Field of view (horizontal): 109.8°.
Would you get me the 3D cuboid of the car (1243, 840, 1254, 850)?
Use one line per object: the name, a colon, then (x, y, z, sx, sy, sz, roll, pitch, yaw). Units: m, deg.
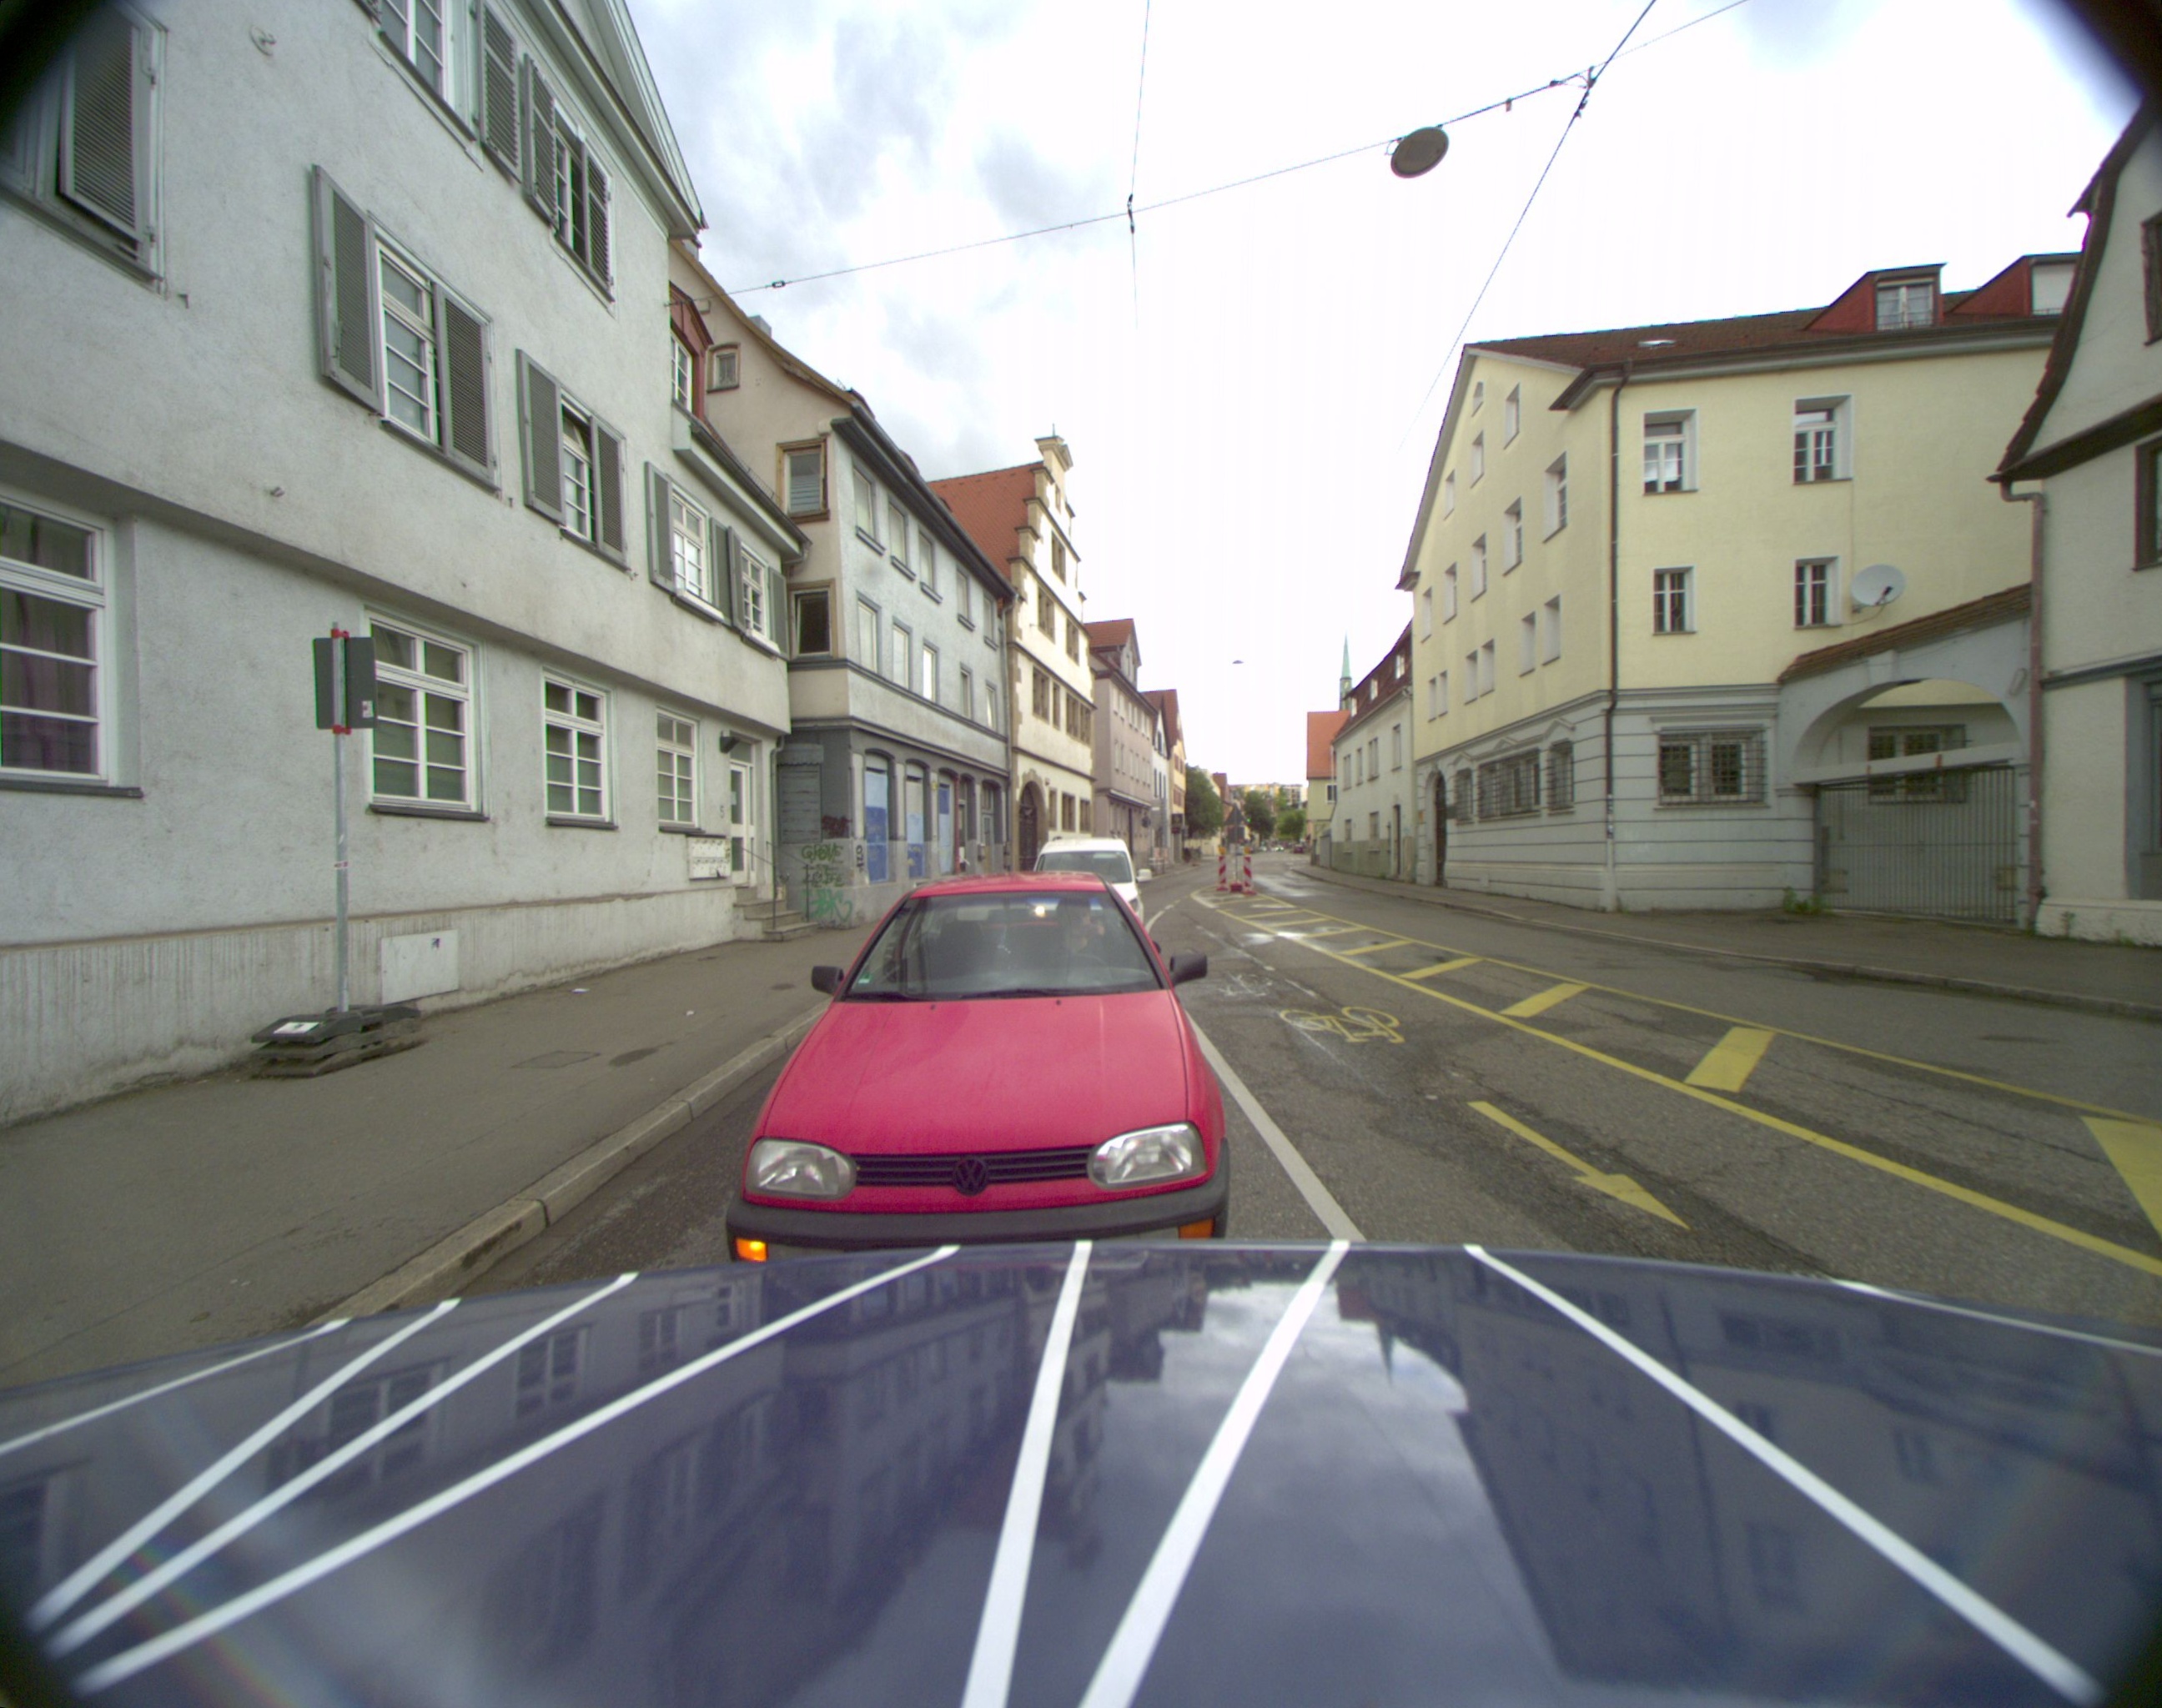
car: (33.995, -1.763, 154.276, 1.996, 2.002, 4.004, -1, 0, 13)

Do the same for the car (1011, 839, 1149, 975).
car: (0.013, 0.709, 12.252, 1.804, 1.781, 4.349, -1, 0, 1)

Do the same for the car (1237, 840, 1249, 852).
car: (28.466, -1.351, 133.500, 1.996, 2.002, 4.004, -1, 0, 13)

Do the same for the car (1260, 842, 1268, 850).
car: (48.452, -2.117, 201.090, 1.996, 2.002, 4.004, -1, 0, 13)

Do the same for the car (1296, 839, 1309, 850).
car: (42.740, -1.783, 146.579, 2.057, 2.002, 4.004, -1, 0, 13)

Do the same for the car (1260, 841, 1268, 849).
car: (44.973, -2.166, 186.809, 1.996, 2.002, 4.004, -1, 0, 13)

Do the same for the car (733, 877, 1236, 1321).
car: (-0.334, 0.987, 4.858, 1.804, 1.458, 4.000, -4, 0, 1)

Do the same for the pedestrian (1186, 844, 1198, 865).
pedestrian: (9.861, 0.056, 67.533, 0.877, 1.888, 0.898, -1, 0, 14)

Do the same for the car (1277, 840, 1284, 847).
car: (58.126, -2.975, 221.298, 1.996, 2.002, 4.004, -1, 0, 13)
